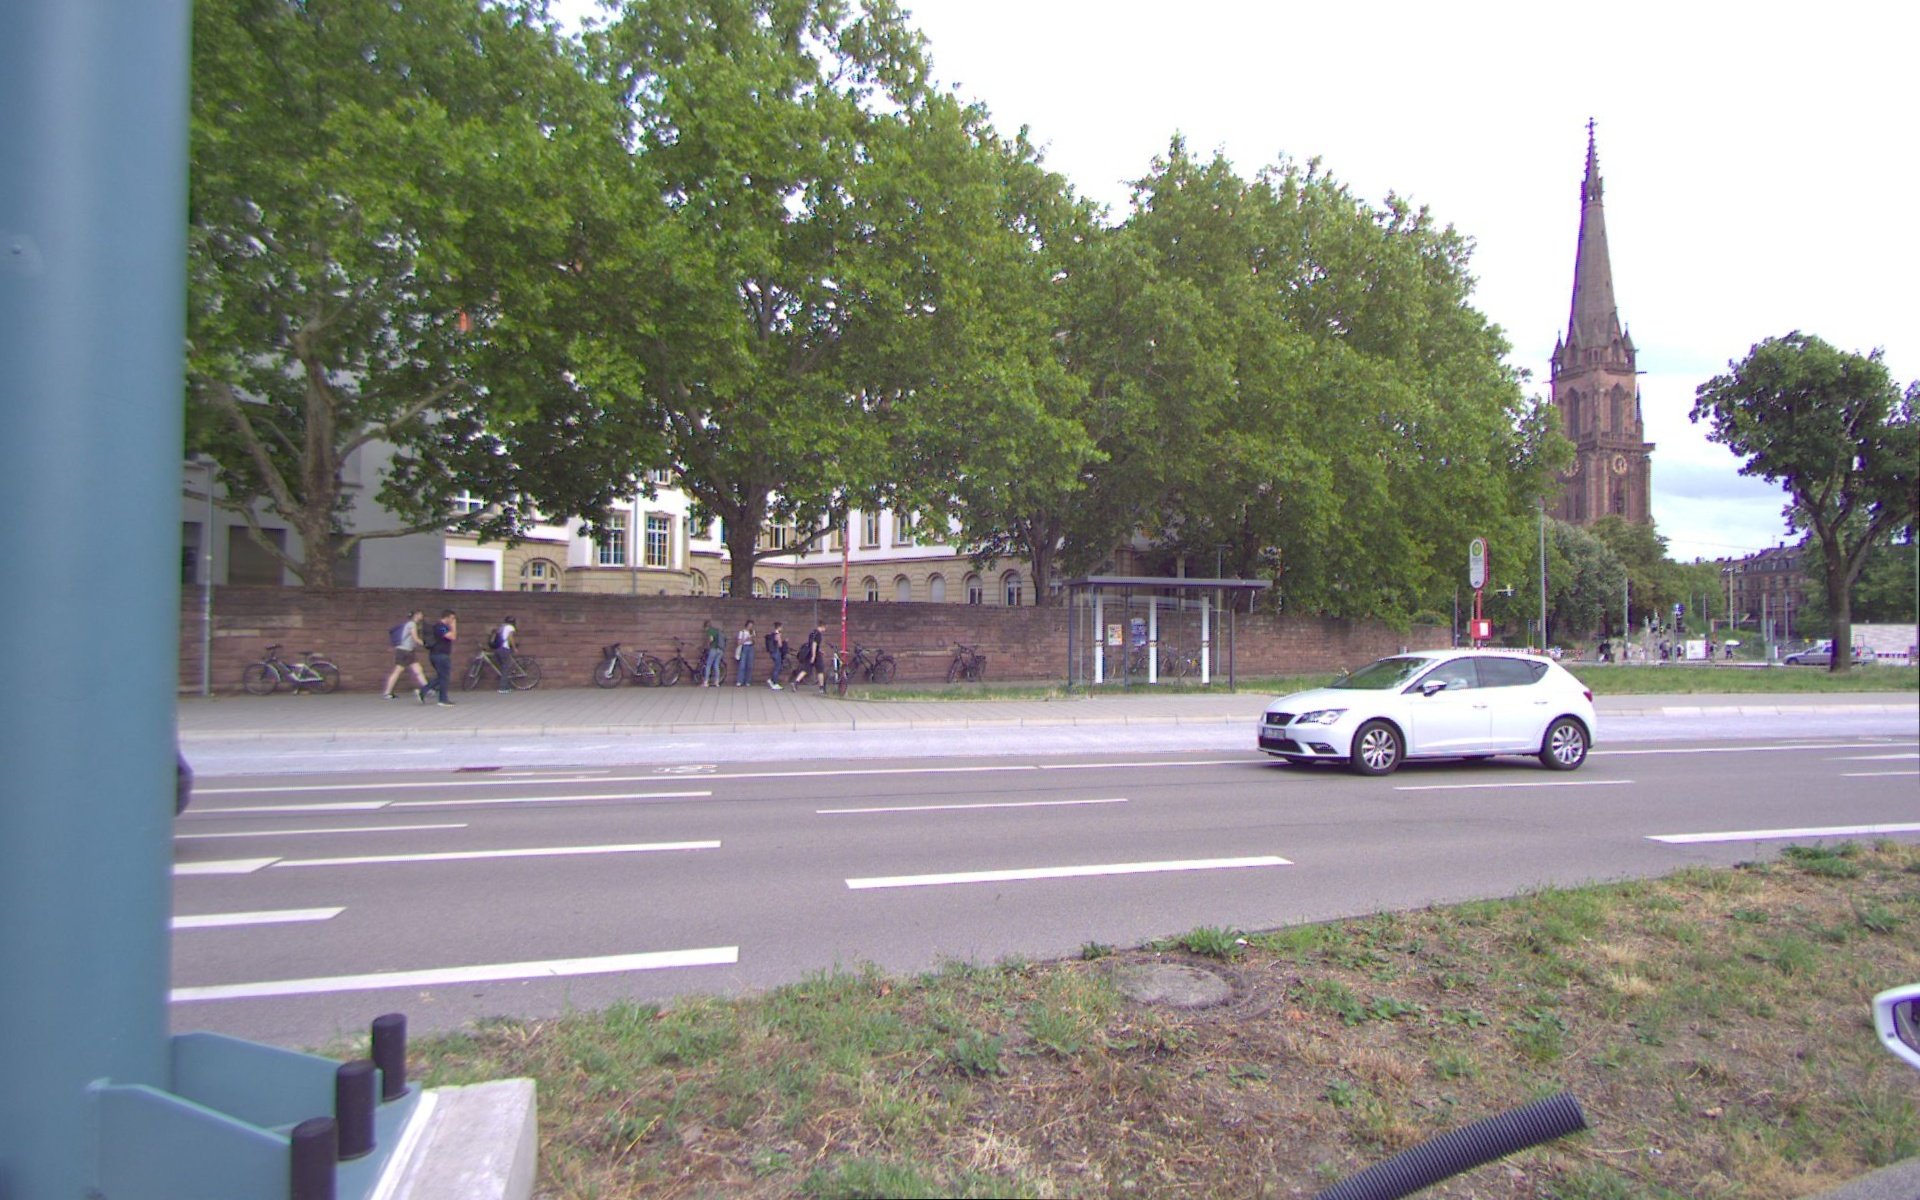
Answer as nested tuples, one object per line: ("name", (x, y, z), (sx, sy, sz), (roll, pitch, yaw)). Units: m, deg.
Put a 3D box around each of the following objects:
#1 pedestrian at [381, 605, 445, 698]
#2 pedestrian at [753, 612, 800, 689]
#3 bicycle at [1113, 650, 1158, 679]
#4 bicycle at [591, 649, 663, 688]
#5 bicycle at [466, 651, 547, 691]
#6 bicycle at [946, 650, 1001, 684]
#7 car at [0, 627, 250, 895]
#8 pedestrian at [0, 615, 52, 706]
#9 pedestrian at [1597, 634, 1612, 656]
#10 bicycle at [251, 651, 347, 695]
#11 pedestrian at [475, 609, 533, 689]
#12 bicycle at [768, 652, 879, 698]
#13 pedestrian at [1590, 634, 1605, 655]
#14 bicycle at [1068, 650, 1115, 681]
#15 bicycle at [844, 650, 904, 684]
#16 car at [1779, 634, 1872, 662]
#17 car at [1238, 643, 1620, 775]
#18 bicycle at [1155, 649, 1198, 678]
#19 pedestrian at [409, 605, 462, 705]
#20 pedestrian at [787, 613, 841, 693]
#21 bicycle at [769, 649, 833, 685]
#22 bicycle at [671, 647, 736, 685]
("pedestrian", (-10.939, 1.026, 20.091), (0.908, 1.806, 0.752), (3, -2, -42))
("pedestrian", (-4.427, 1.214, 24.188), (0.778, 1.806, 0.752), (3, -2, -42))
("bicycle", (5.843, 2.134, 33.410), (1.606, 0.919, 0.477), (2, 0, -38))
("bicycle", (-7.868, 1.615, 23.760), (1.538, 0.890, 0.414), (2, 0, -31))
("bicycle", (-10.159, 1.575, 22.505), (1.602, 0.838, 0.438), (2, 0, -31))
("bicycle", (0.403, 1.935, 29.262), (1.605, 0.919, 0.477), (2, 0, -36))
("car", (-7.237, 0.921, 6.159), (4.301, 1.508, 1.756), (1, -2, -13))
("pedestrian", (-17.174, 1.097, 18.363), (0.728, 1.613, 0.582), (3, -2, -36))
("pedestrian", (48.524, 3.390, 75.622), (0.714, 1.581, 0.561), (-2, -1, -19))
("bicycle", (-13.510, 1.487, 20.587), (1.602, 0.838, 0.438), (2, 0, -31))
("pedestrian", (-9.884, 1.057, 21.783), (0.917, 1.693, 0.752), (3, -2, -42))
("bicycle", (-2.864, 1.583, 21.228), (2.295, 0.931, 0.471), (1, -1, -6))
("pedestrian", (48.655, 3.406, 76.674), (0.714, 1.581, 0.561), (-2, -1, -19))
("bicycle", (4.183, 2.085, 31.993), (1.606, 0.919, 0.477), (2, 0, -38))
("bicycle", (-2.335, 1.809, 27.316), (1.604, 0.890, 0.438), (2, 0, -34))
("car", (54.060, 2.973, 62.851), (1.621, 1.671, 4.151), (1, -2, -18))
("car", (5.758, 1.309, 12.504), (4.103, 1.461, 1.699), (1, -4, -13))
("bicycle", (7.455, 2.179, 34.572), (1.606, 0.919, 0.477), (2, 0, -38))
("pedestrian", (-9.713, 1.039, 18.605), (0.715, 1.805, 0.753), (3, -6, -37))
("pedestrian", (-3.402, 1.229, 23.395), (0.917, 1.806, 0.752), (3, -2, -42))
("bicycle", (-4.123, 1.725, 26.064), (1.604, 0.890, 0.438), (2, 0, -34))
("bicycle", (-6.309, 1.625, 24.766), (1.504, 0.890, 0.345), (2, 0, -31))
